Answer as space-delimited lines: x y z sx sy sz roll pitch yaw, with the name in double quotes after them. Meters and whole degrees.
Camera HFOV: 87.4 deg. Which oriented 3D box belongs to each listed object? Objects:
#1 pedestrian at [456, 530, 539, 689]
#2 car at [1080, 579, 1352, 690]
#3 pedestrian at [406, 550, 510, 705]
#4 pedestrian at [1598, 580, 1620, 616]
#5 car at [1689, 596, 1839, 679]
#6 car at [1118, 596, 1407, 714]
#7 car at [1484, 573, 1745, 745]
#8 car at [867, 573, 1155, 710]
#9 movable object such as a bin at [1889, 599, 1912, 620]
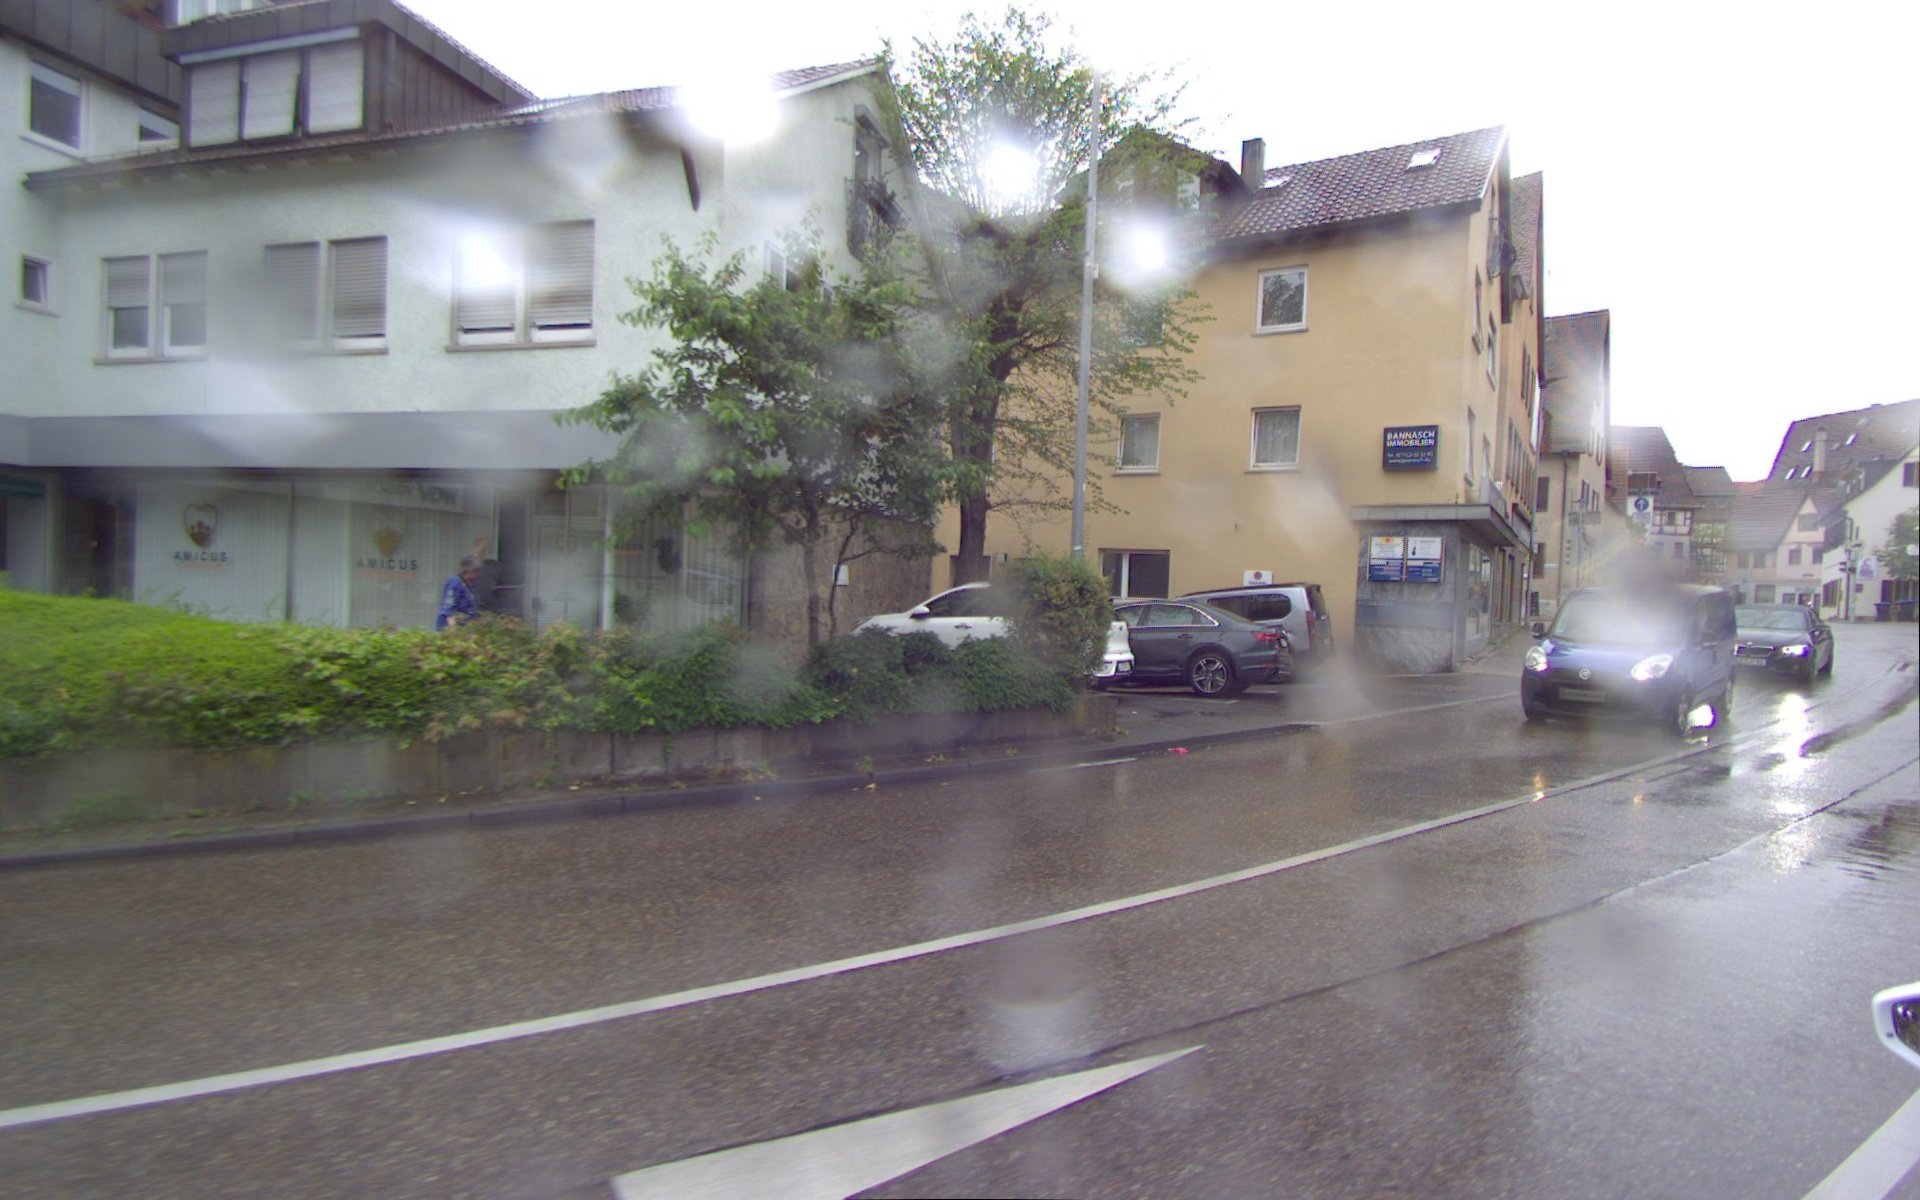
-5.540 0.103 12.060 0.659 1.844 0.618 1 1 11 "pedestrian"
5.094 0.713 20.202 4.849 1.849 1.958 -5 0 31 "car"
-5.679 0.295 11.392 0.845 1.694 0.618 1 1 12 "pedestrian"
34.791 -0.111 53.879 0.783 1.855 0.714 -2 1 19 "pedestrian"
16.099 0.663 20.032 4.234 1.406 1.842 -1 2 -45 "car"
4.584 0.737 15.262 3.925 1.473 1.897 1 2 27 "car"
8.866 0.615 13.460 4.347 1.907 1.974 -1 2 -44 "car"
0.748 0.503 14.177 3.575 1.651 1.999 2 1 23 "car"
43.914 0.440 46.914 0.576 0.914 0.584 1 2 18 "movable object such as a bin"
